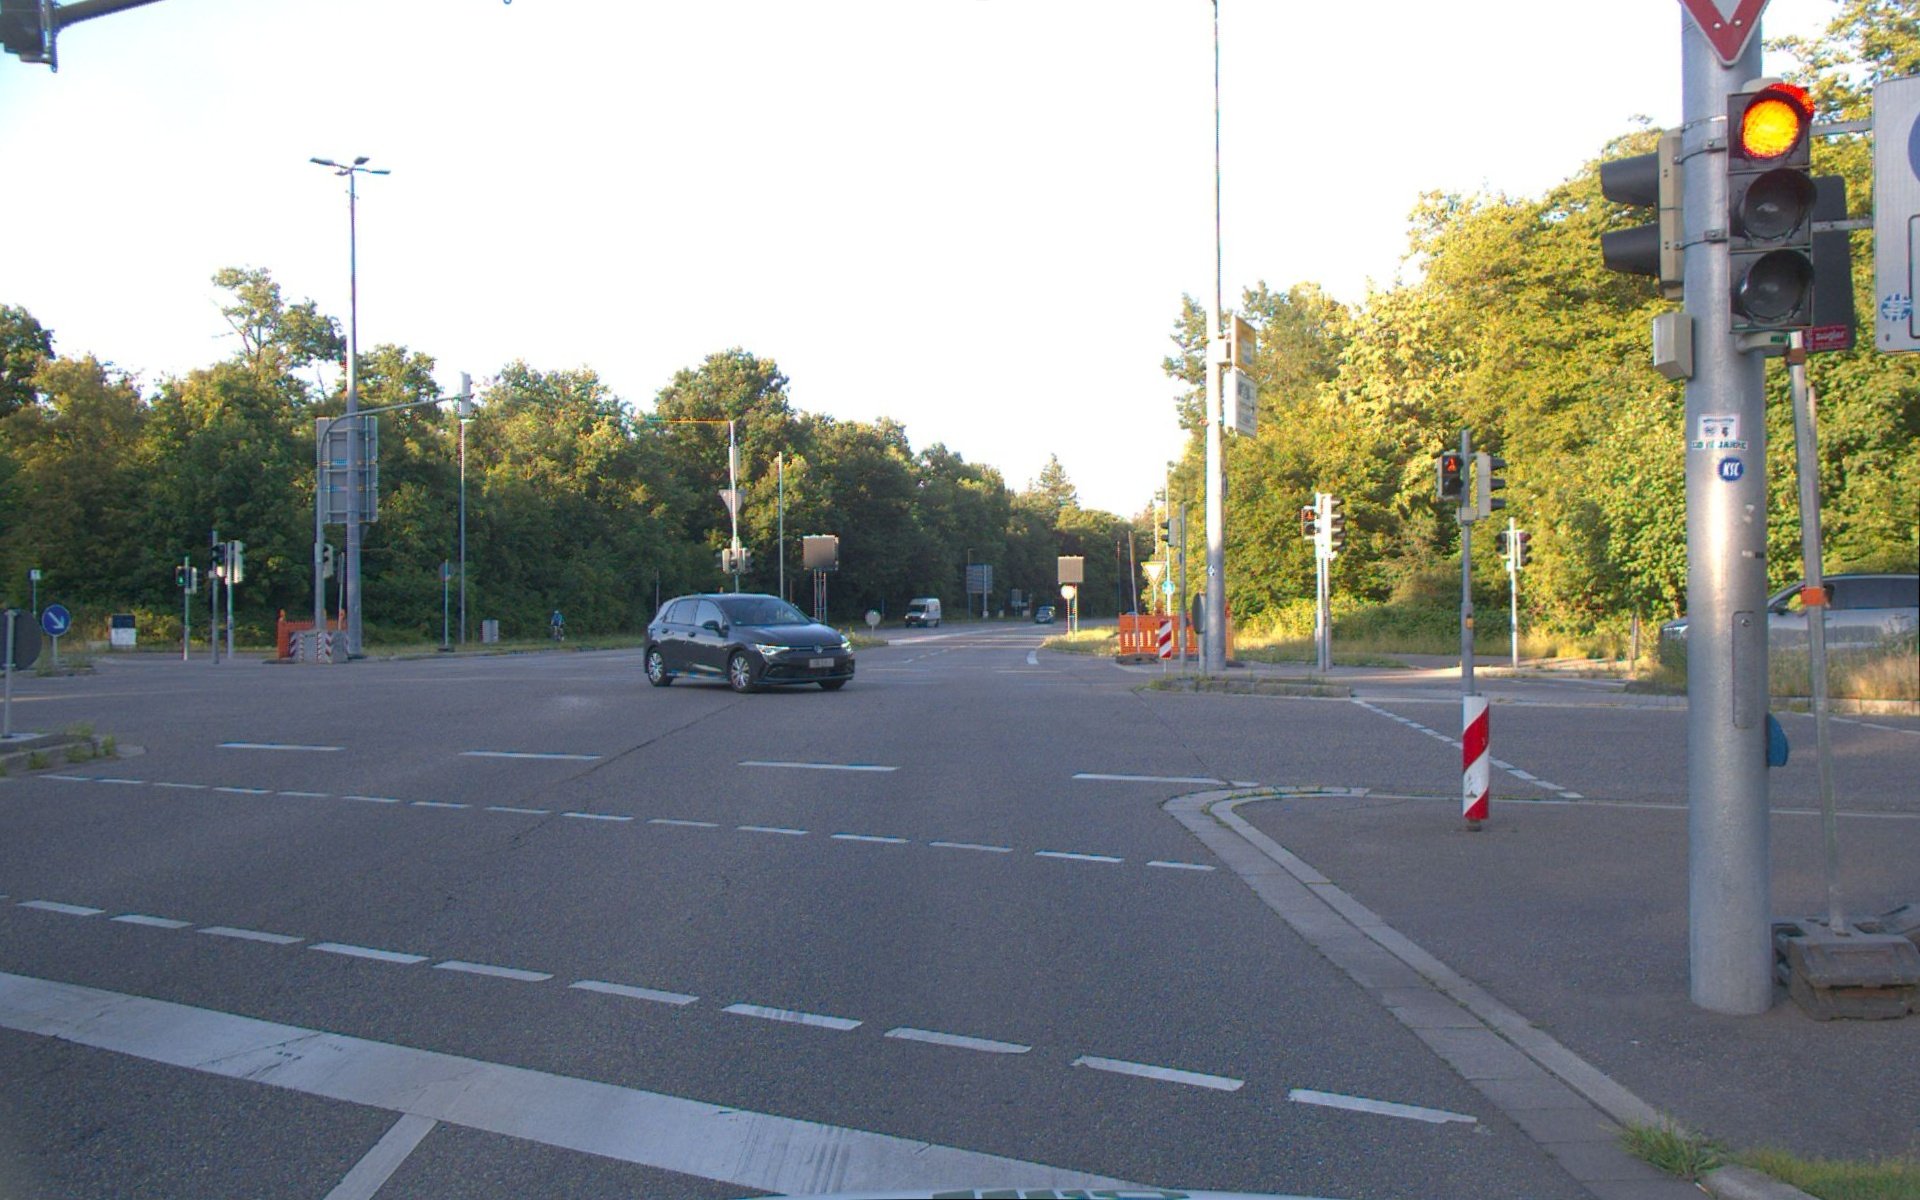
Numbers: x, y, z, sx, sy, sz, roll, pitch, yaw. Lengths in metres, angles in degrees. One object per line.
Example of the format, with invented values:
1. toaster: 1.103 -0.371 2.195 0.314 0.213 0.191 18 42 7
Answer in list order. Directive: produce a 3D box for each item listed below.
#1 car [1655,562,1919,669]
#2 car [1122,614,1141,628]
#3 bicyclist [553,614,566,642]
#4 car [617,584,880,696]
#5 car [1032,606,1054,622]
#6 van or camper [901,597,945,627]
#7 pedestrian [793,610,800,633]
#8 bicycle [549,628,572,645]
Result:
1. car: 13.751 0.246 26.496 4.716 1.626 2.000 -1 0 21
2. car: 21.054 2.564 203.120 1.951 1.646 4.003 0 0 10
3. bicyclist: -20.311 1.400 83.878 0.515 1.411 0.401 0 0 -42
4. car: -3.366 0.567 25.551 1.980 1.556 4.614 0 0 -38
5. car: 9.638 1.602 192.127 1.951 1.668 4.004 -2 1 11
6. van or camper: -3.463 1.107 156.884 2.823 2.699 7.128 0 0 10
7. pedestrian: -14.405 1.900 145.357 0.511 2.049 0.600 1 -1 -1
8. bicycle: -20.280 1.840 83.910 1.096 0.840 0.407 0 0 -42
